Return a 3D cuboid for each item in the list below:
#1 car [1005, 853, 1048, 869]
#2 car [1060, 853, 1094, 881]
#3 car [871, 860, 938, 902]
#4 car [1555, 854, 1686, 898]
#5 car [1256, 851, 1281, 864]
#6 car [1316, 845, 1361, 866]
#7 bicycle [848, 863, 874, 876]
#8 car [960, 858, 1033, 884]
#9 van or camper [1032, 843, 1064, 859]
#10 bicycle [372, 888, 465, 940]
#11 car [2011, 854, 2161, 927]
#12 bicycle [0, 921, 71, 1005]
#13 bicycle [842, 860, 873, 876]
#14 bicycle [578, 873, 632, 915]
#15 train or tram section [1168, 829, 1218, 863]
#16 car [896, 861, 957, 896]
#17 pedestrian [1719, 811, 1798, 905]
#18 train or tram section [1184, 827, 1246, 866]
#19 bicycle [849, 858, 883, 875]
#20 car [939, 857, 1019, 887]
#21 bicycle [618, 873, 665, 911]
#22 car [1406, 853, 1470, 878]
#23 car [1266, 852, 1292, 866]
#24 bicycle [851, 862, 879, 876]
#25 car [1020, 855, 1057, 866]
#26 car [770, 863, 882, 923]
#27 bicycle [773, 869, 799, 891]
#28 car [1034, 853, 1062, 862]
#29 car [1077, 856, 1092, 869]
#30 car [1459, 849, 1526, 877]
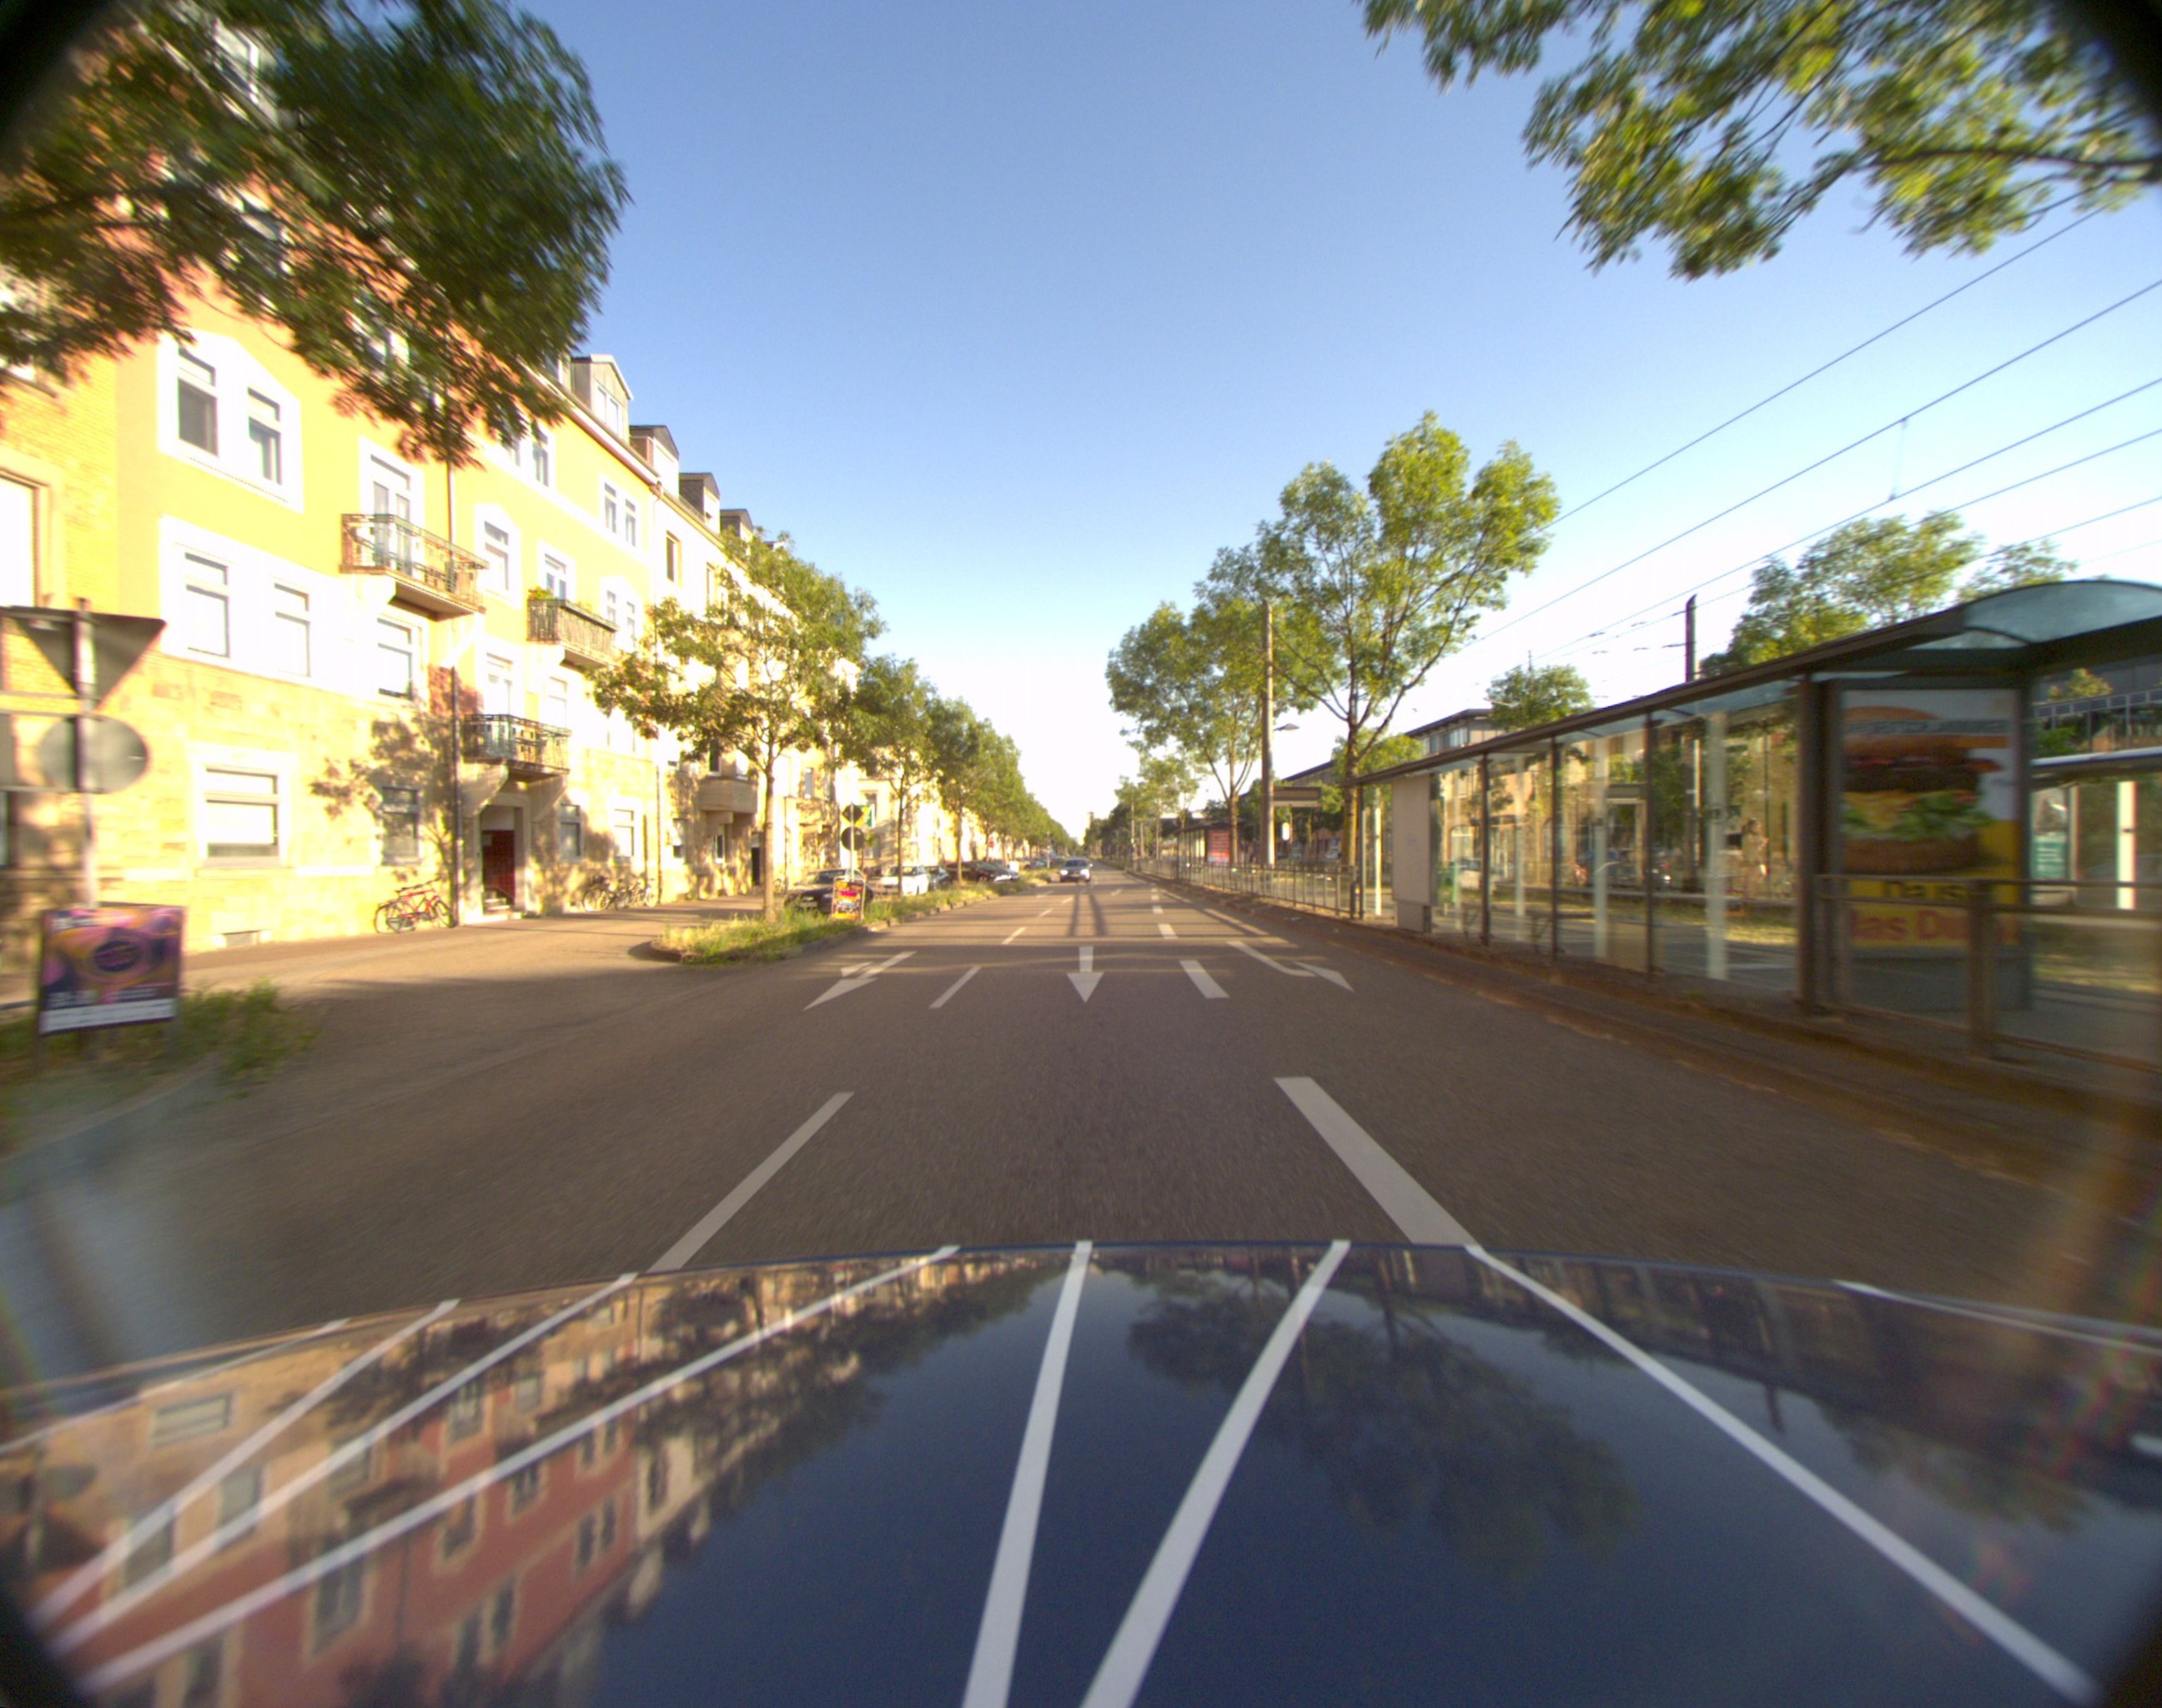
[{"bbox_3d":[-5.918,0.757,82.171,4.420,1.681,1.920,-1,0,35],"label":"car"},{"bbox_3d":[-0.204,0.763,47.736,1.998,1.655,4.000,-1,0,2],"label":"car"},{"bbox_3d":[-7.329,1.065,31.936,1.730,1.503,4.272,-4,0,0],"label":"car"},{"bbox_3d":[20.074,0.764,28.548,1.799,1.407,4.340,-2,1,0],"label":"car"},{"bbox_3d":[22.604,0.359,91.623,1.867,1.499,3.999,-1,0,-2],"label":"car"},{"bbox_3d":[19.024,0.110,56.339,1.866,1.499,4.361,-1,0,1],"label":"car"},{"bbox_3d":[-18.449,1.294,63.724,1.977,1.117,0.575,-1,1,-4],"label":"bicycle"},{"bbox_3d":[-5.250,1.077,47.207,4.276,1.513,1.850,-1,0,33],"label":"car"},{"bbox_3d":[-6.169,-0.509,140.638,5.635,2.796,2.208,-1,1,32],"label":"van or camper"},{"bbox_3d":[-14.671,1.301,16.884,0.484,0.999,1.746,-1,0,1],"label":"bicycle"},{"bbox_3d":[22.326,0.735,15.353,1.614,1.405,4.433,-1,0,-1],"label":"car"},{"bbox_3d":[-13.222,1.324,8.464,0.735,0.942,2.340,1,0,4],"label":"bicycle"},{"bbox_3d":[-18.454,1.136,62.763,2.356,1.312,0.730,-1,1,-4],"label":"bicycle"},{"bbox_3d":[-14.693,1.211,23.504,0.484,1.158,1.746,4,0,1],"label":"bicycle"},{"bbox_3d":[12.467,-0.851,86.150,3.439,3.410,15.026,-1,0,0],"label":"train or tram section"},{"bbox_3d":[-7.506,1.157,37.471,1.950,1.436,4.908,-3,0,0],"label":"car"},{"bbox_3d":[14.995,0.085,16.843,0.771,2.002,1.127,-1,1,2],"label":"pedestrian"},{"bbox_3d":[12.367,-0.682,71.738,3.439,3.320,13.856,-1,0,0],"label":"train or tram section"},{"bbox_3d":[-18.437,1.084,65.246,2.672,1.376,0.730,-1,1,-4],"label":"bicycle"},{"bbox_3d":[-6.031,1.066,44.801,4.330,1.562,2.005,-3,-1,33],"label":"car"},{"bbox_3d":[-14.675,1.251,25.407,0.484,1.158,1.746,4,0,1],"label":"bicycle"},{"bbox_3d":[19.656,0.623,41.992,1.697,1.290,4.000,-1,0,1],"label":"car"},{"bbox_3d":[19.884,0.463,76.458,1.544,1.290,3.689,-2,0,-1],"label":"car"},{"bbox_3d":[-18.319,1.279,64.372,2.211,1.099,0.538,-1,1,-4],"label":"bicycle"},{"bbox_3d":[-5.654,0.850,100.950,4.570,1.340,1.900,-1,1,33],"label":"car"},{"bbox_3d":[-7.380,1.074,22.471,1.708,1.440,4.288,-4,0,1],"label":"car"},{"bbox_3d":[-14.708,1.281,37.927,0.573,1.067,1.896,0,0,0],"label":"bicycle"},{"bbox_3d":[-5.510,0.583,127.340,4.424,1.415,1.926,-2,0,32],"label":"car"},{"bbox_3d":[0.469,1.066,99.262,1.870,1.586,3.952,-1,0,2],"label":"car"},{"bbox_3d":[22.511,0.468,41.687,1.615,1.368,3.749,2,0,1],"label":"car"}]
